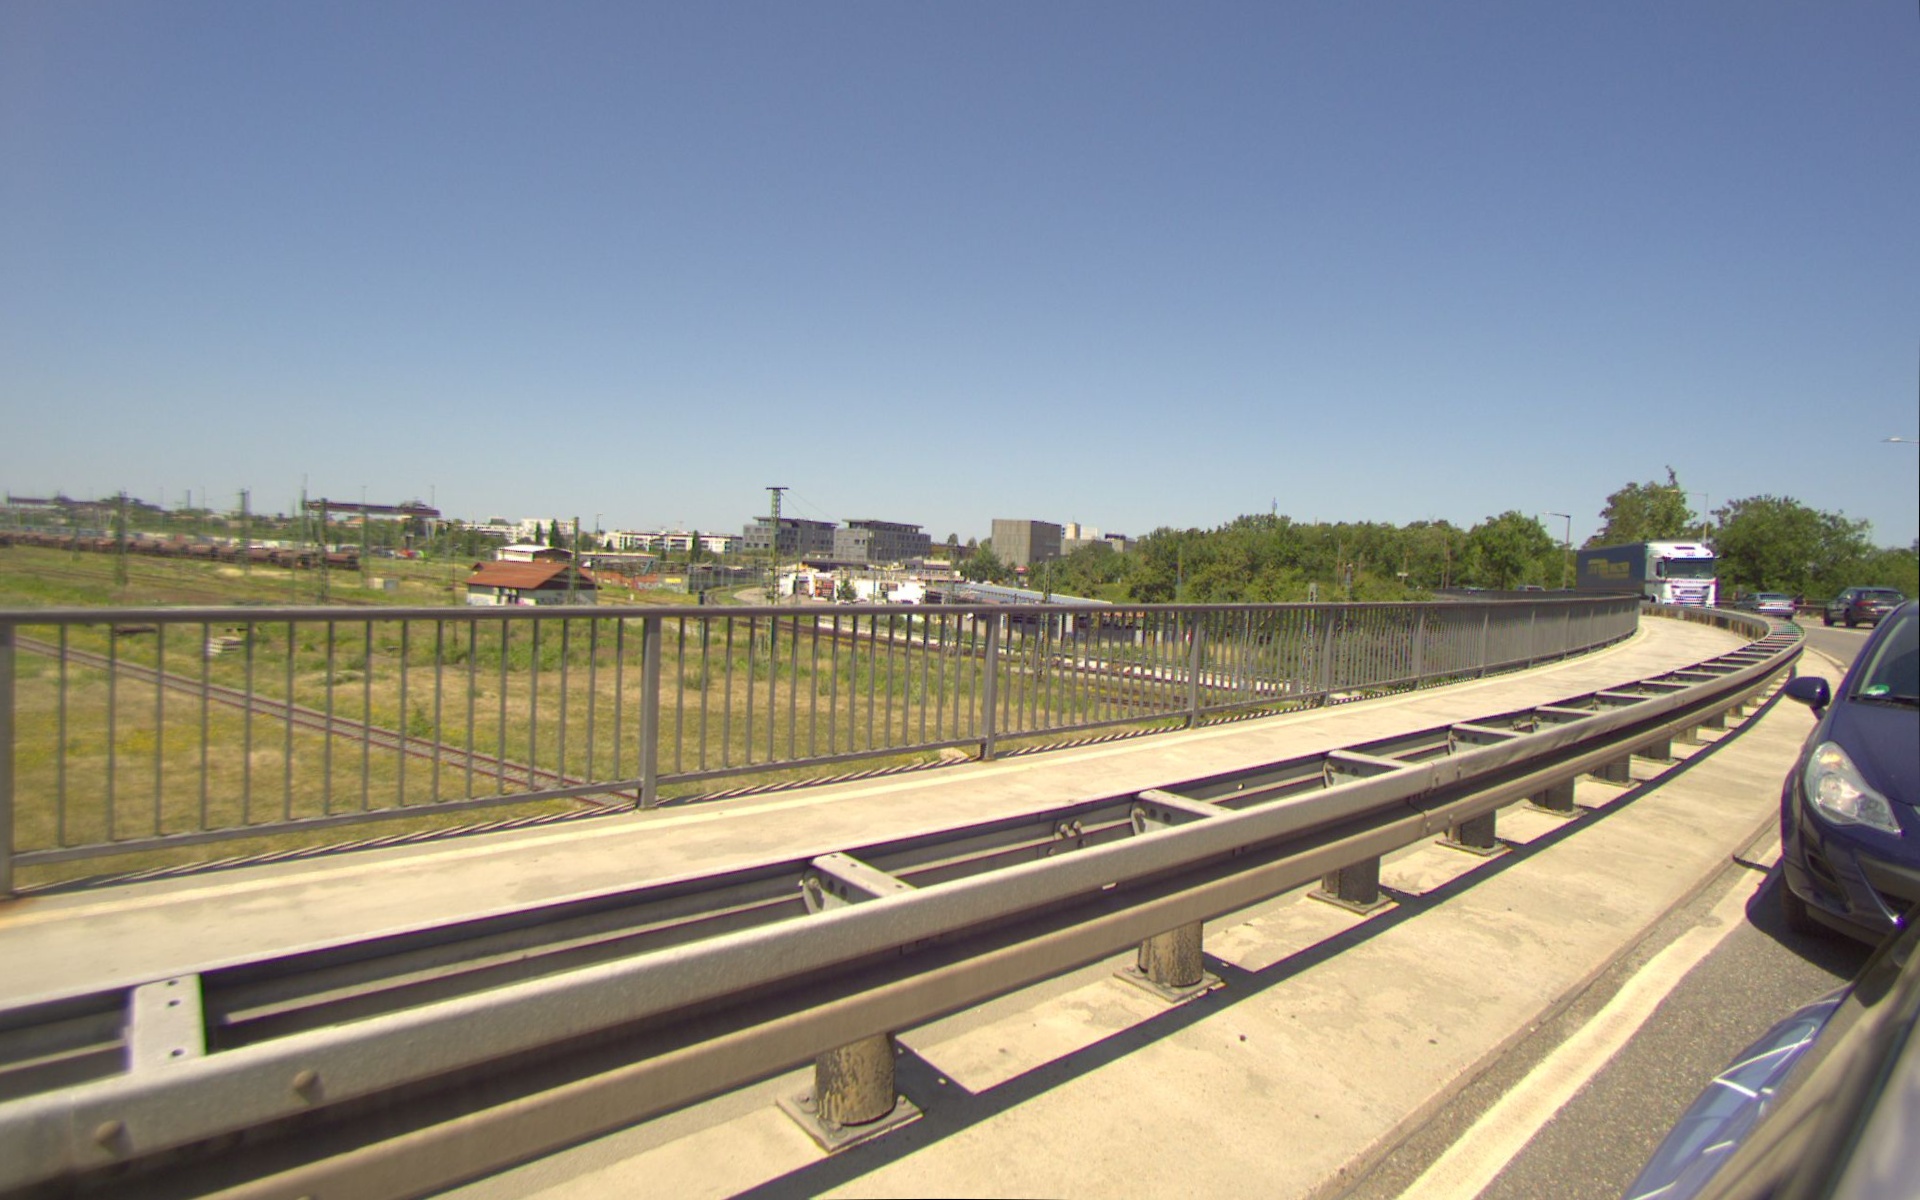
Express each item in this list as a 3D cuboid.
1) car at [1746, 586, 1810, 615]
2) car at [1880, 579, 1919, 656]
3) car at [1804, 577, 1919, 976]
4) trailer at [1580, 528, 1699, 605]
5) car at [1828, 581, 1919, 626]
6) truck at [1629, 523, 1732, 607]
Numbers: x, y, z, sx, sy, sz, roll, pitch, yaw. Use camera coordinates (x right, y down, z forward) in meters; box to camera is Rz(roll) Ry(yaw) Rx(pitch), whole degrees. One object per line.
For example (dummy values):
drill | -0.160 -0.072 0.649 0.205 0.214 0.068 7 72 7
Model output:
car | 42.304 -0.021 52.425 1.685 1.393 3.965 1 2 26
car | 20.482 0.343 20.860 1.785 1.473 4.463 1 1 37
car | 5.234 0.634 4.740 1.641 1.457 3.936 1 1 45
trailer | 41.711 -2.034 62.702 2.666 4.287 12.643 0 1 18
car | 36.840 0.098 40.748 1.789 1.661 4.262 1 1 26
truck | 39.495 -1.884 55.732 2.661 4.281 6.801 -1 1 18
